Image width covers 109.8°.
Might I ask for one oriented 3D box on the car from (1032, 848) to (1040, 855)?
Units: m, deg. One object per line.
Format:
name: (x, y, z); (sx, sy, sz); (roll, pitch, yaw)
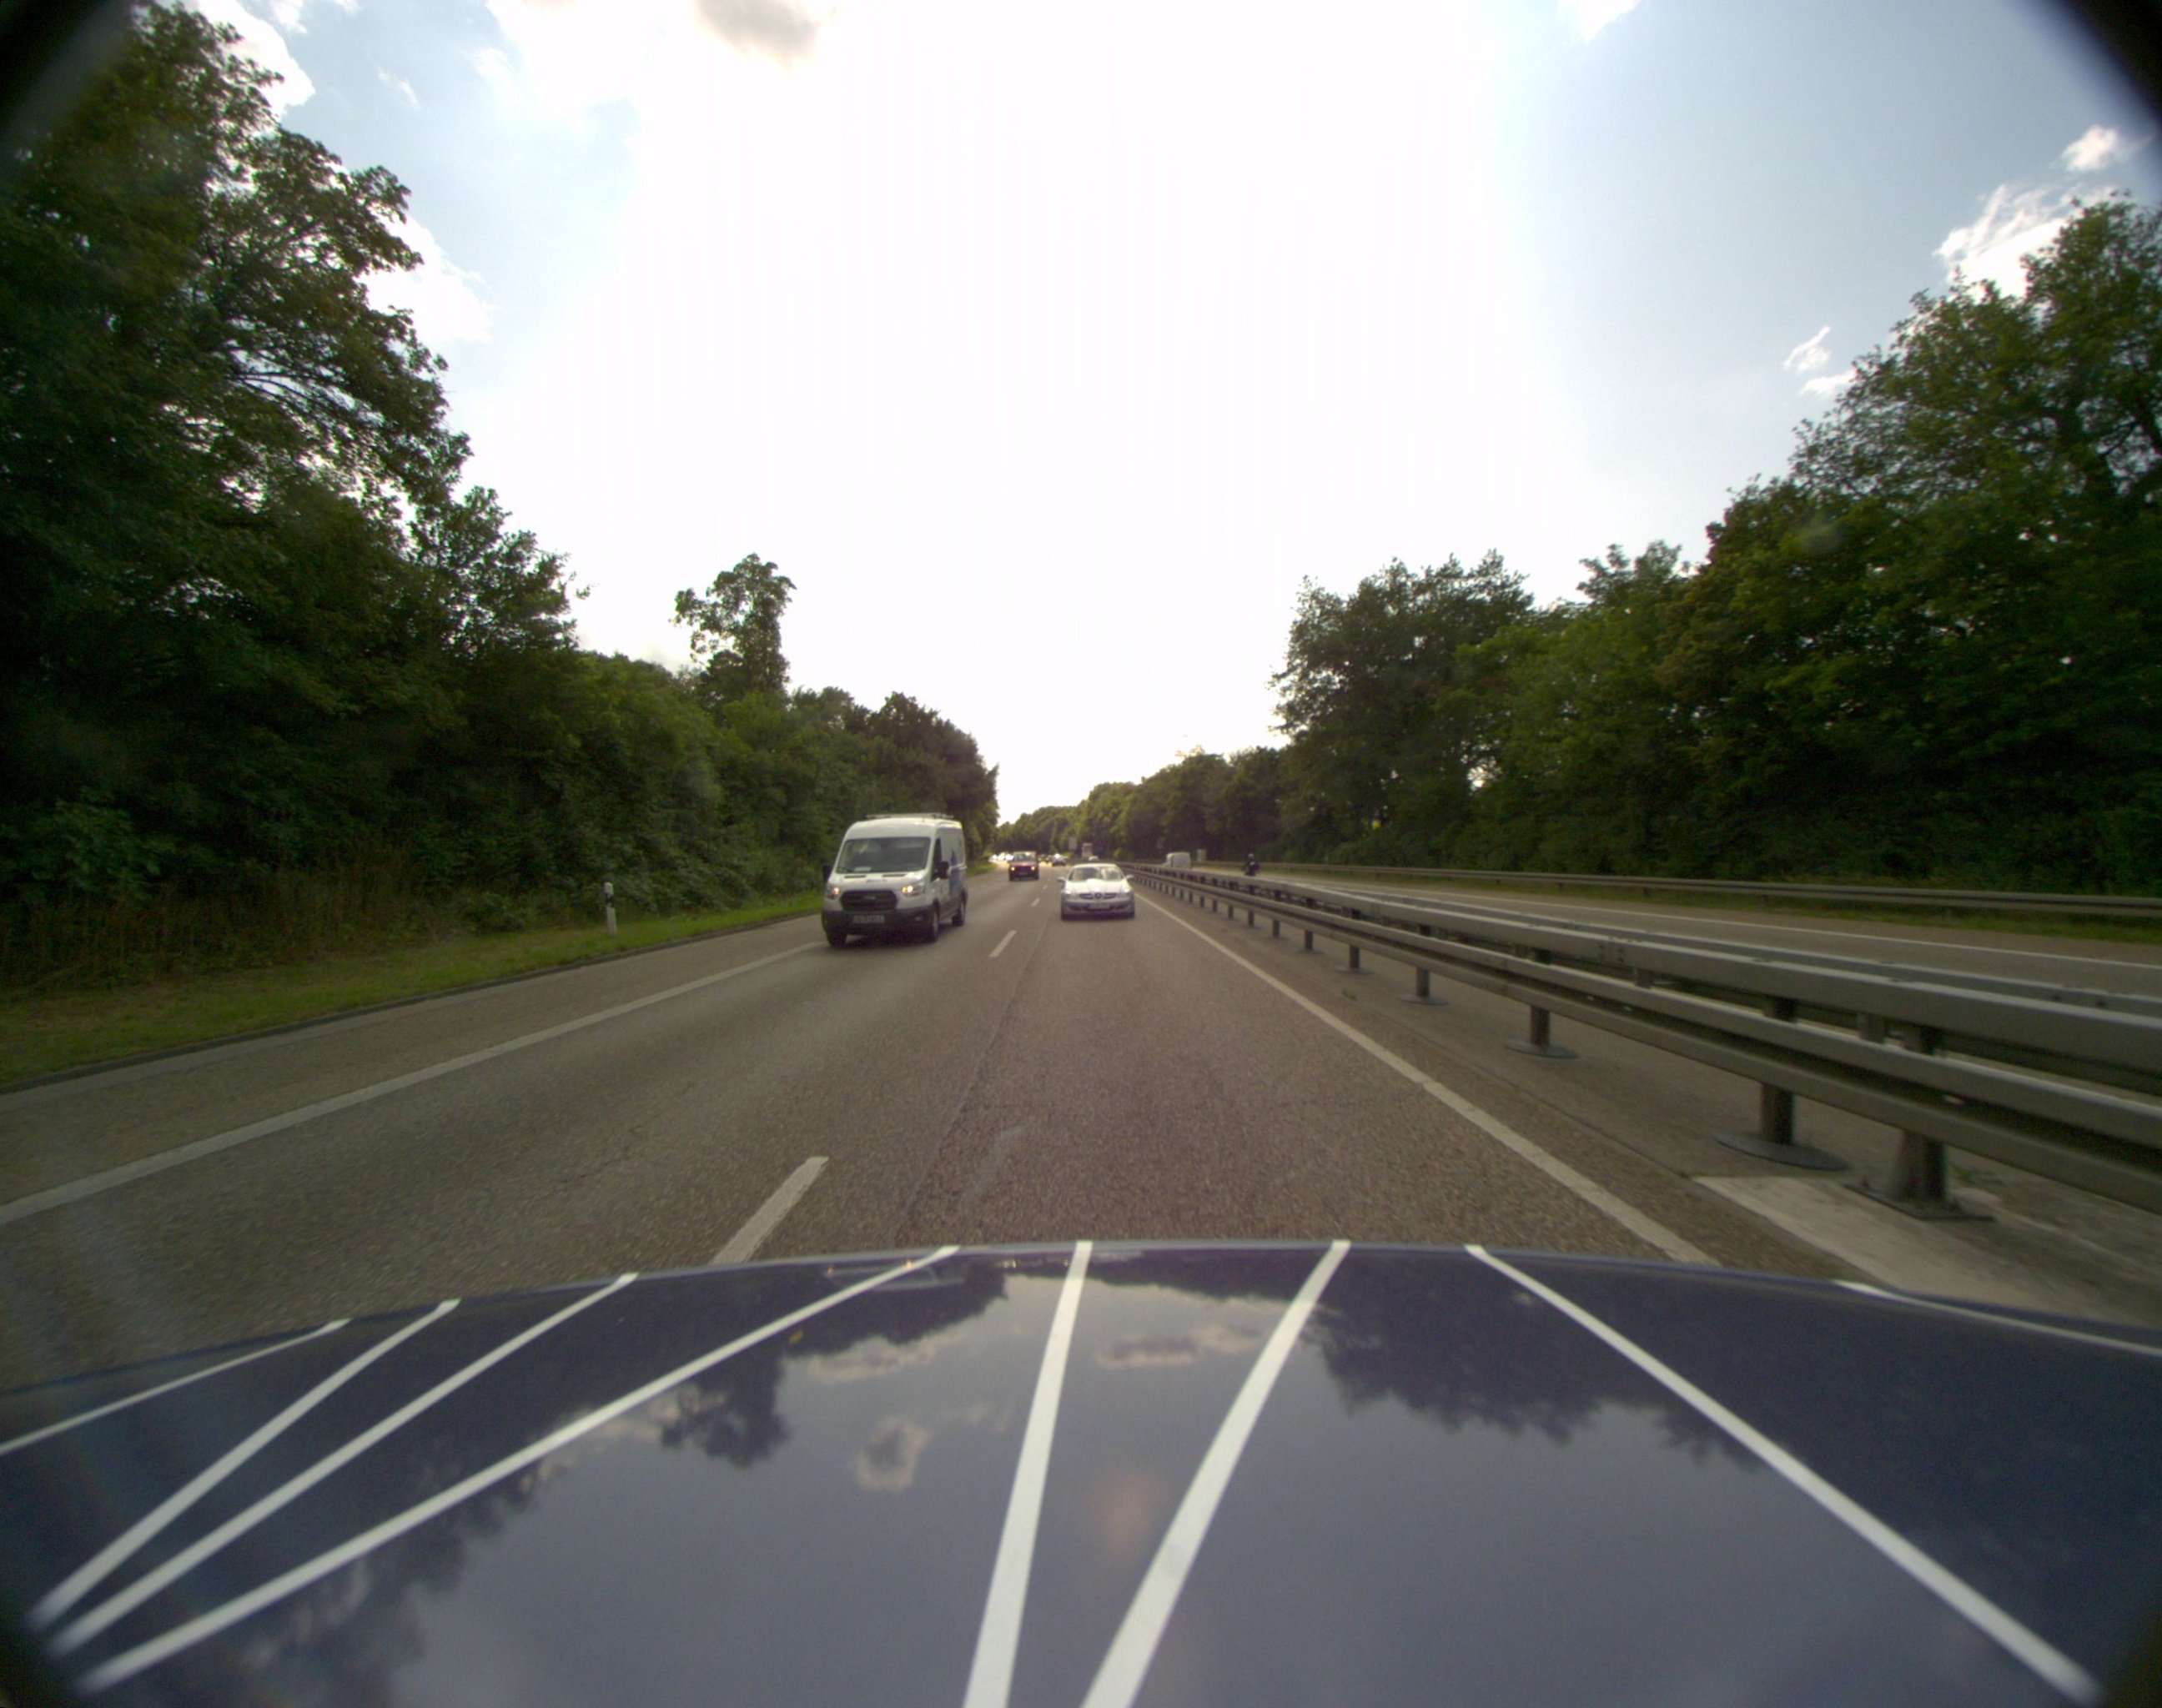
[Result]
car: (-10.351, -0.520, 174.446); (1.700, 1.579, 3.998); (0, 0, -4)

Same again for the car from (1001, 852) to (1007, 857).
car: (-23.671, 0.205, 233.664); (1.786, 1.512, 3.998); (0, 0, -4)

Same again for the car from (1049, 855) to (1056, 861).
car: (-7.944, 1.037, 211.121); (1.861, 1.506, 3.992); (0, 0, -3)

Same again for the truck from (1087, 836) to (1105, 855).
truck: (3.184, -1.810, 164.584); (3.384, 4.073, 6.127); (-1, 0, -4)

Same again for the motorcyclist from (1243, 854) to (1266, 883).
motorcyclist: (7.611, 0.624, 33.304); (0.827, 1.219, 0.720); (0, 1, 0)

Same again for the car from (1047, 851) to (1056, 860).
car: (-5.156, 0.192, 133.539); (1.473, 1.560, 3.293); (0, 0, -4)

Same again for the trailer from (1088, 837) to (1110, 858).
trailer: (3.622, -1.417, 157.642); (3.414, 4.056, 12.973); (-2, 1, -4)

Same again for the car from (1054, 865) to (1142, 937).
car: (0.362, 0.986, 17.837); (1.751, 1.295, 5.223); (-1, 0, 0)

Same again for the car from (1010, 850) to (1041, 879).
car: (-3.660, 0.677, 50.693); (1.909, 1.795, 4.393); (-2, 0, -4)

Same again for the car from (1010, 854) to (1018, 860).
car: (-16.386, 0.707, 185.087); (1.786, 1.512, 3.998); (0, 0, -4)

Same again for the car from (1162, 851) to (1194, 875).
car: (7.831, 0.700, 61.829); (1.849, 1.808, 5.477); (0, 0, -1)

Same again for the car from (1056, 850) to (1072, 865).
car: (-2.385, 0.516, 104.089); (1.999, 2.002, 3.998); (0, 0, -4)

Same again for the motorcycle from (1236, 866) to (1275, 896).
motorcycle: (7.663, 1.158, 33.554); (1.002, 1.194, 2.997); (0, 0, 0)

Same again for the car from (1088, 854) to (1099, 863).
car: (2.222, 0.808, 132.679); (1.682, 1.422, 4.549); (-2, 0, -2)

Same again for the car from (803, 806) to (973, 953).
car: (-3.722, 0.439, 15.852); (2.104, 2.493, 5.278); (-2, 0, 0)

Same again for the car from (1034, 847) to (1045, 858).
car: (-8.314, -0.298, 151.376); (2.000, 2.002, 3.998); (0, 0, -6)
